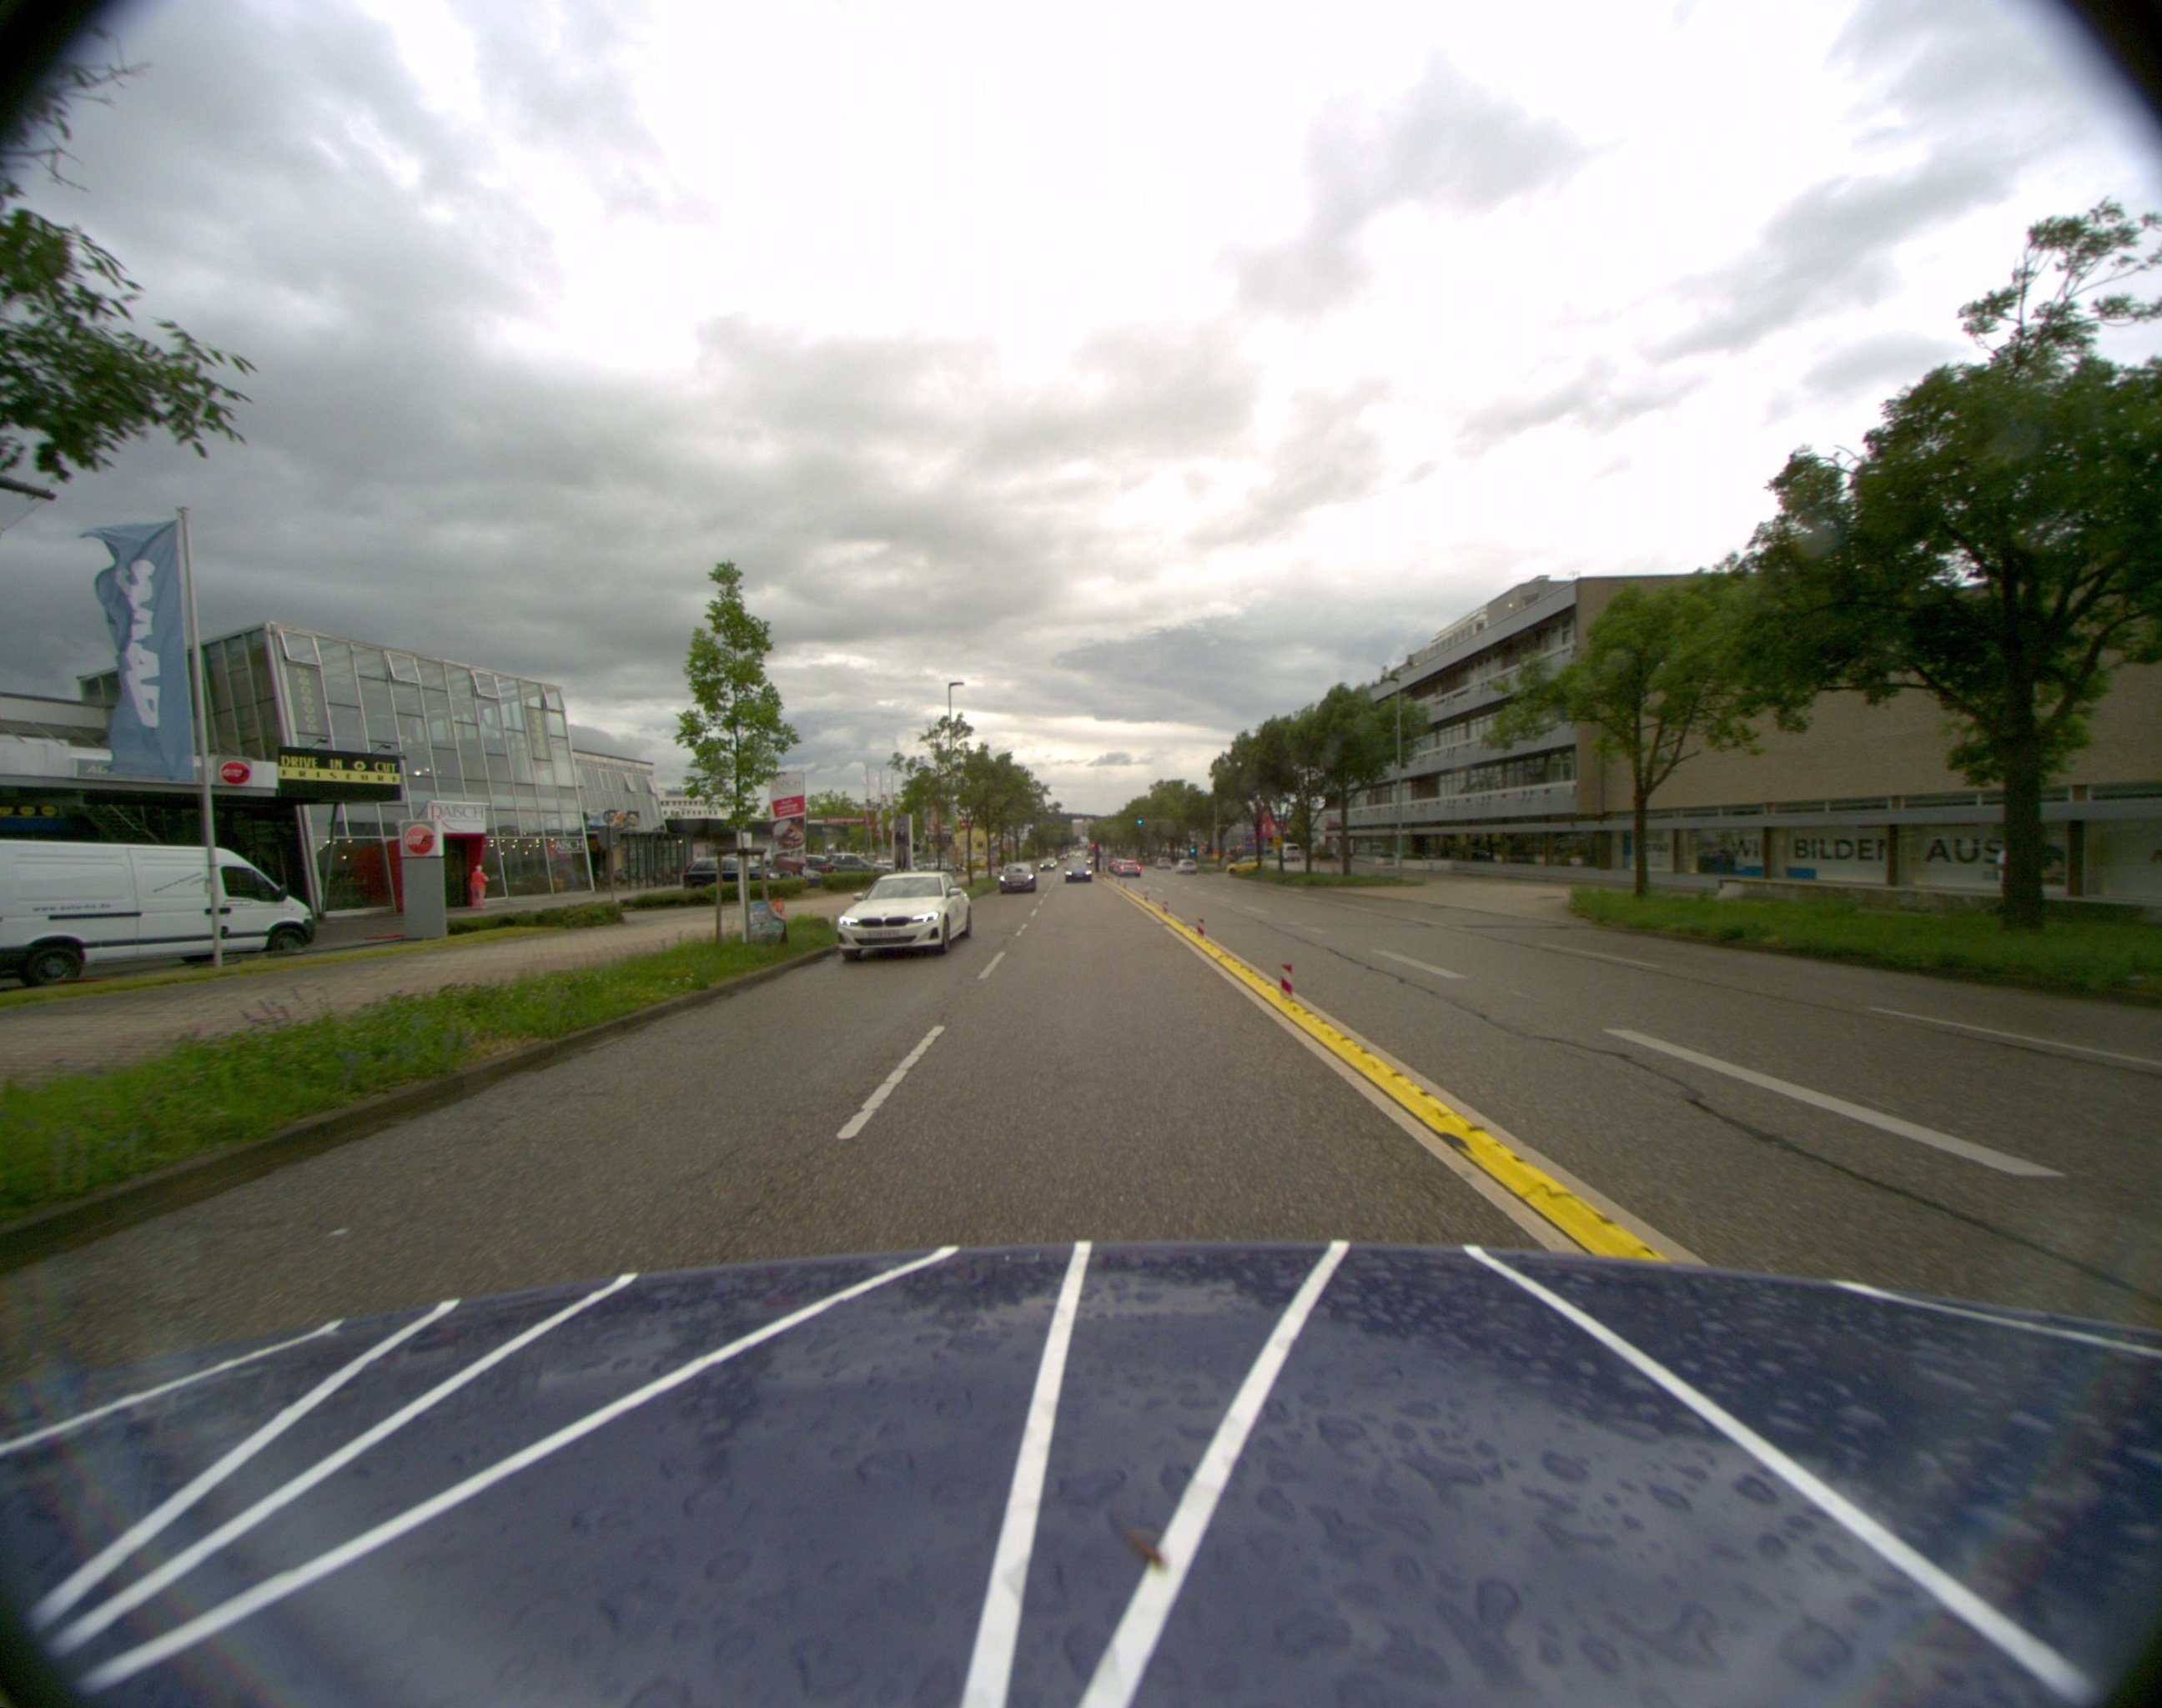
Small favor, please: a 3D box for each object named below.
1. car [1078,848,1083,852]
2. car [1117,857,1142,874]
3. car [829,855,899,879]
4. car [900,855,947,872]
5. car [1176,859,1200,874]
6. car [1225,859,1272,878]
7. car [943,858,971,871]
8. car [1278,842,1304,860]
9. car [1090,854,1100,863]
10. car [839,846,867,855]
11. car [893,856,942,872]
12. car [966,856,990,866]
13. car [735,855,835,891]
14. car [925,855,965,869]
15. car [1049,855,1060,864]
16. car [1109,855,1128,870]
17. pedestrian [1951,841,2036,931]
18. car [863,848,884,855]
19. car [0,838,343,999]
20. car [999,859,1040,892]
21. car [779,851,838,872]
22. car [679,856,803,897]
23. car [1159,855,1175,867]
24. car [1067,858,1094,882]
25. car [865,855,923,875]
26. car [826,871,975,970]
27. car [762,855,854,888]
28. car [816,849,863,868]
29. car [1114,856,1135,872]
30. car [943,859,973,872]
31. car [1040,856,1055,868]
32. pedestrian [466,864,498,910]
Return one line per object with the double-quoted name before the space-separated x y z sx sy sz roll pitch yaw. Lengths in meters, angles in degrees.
"car" -0.131 -1.318 246.057 1.753 1.501 4.000 0 0 1
"car" 4.155 0.983 65.595 1.788 1.398 4.616 0 0 -1
"car" -14.739 0.893 51.658 4.179 1.464 1.862 2 0 -1
"car" -15.760 0.922 76.085 4.186 1.570 1.738 2 0 -39
"car" 10.789 1.206 76.860 1.745 1.398 4.468 0 1 1
"car" 15.331 1.321 69.557 3.702 1.500 1.624 -4 2 34
"car" -15.553 1.306 95.184 1.747 1.570 3.864 0 -2 -40
"car" 24.974 -0.354 90.583 1.998 2.002 4.886 1 1 5
"car" 2.498 0.744 134.451 1.754 1.501 4.000 0 0 -1
"car" -47.079 -0.778 157.176 5.093 1.787 2.034 -1 0 0
"car" -15.006 0.922 69.783 4.028 1.429 1.738 2 0 -43
"car" -17.811 1.228 131.628 4.001 1.801 1.766 -1 0 -12
"car" -14.517 0.924 37.415 4.178 1.591 1.828 2 0 3
"car" -15.685 0.922 87.923 1.738 1.570 4.324 2 0 44
"car" -4.191 0.855 120.473 1.754 1.501 4.000 0 0 -1
"car" 3.906 0.914 79.306 1.754 1.516 4.000 0 0 -1
"pedestrian" 16.719 0.577 13.935 0.586 1.574 0.767 -3 0 2
"car" -46.202 -0.620 169.093 4.221 1.572 1.823 -1 0 0
"car" -17.972 1.145 14.394 2.232 2.521 5.683 -3 -2 2
"car" -3.210 1.108 40.376 1.799 1.572 4.218 -3 0 -1
"car" -24.039 0.667 67.127 4.508 1.672 1.794 2 2 -38
"car" -14.875 0.954 33.344 4.663 1.591 1.928 2 0 10
"car" 11.445 0.940 101.309 1.745 1.544 4.781 0 0 1
"car" -0.040 1.148 54.979 1.799 1.572 4.218 -3 0 0
"car" -15.371 0.910 62.539 4.191 1.464 1.785 2 0 -36
"car" -3.274 1.148 14.737 1.808 1.432 4.541 -3 0 -1
"car" -14.494 0.897 40.424 4.178 1.591 1.800 2 0 3
"car" -24.400 0.450 76.881 4.125 1.736 1.794 1 2 -44
"car" 4.121 0.940 72.533 1.745 1.398 3.999 0 0 -1
"car" -16.869 1.541 104.310 3.999 1.502 1.742 -2 3 -5
"car" -4.472 1.024 101.586 1.754 1.501 4.000 0 0 -1
"pedestrian" -23.813 1.290 30.209 0.683 1.749 0.751 0 2 32
